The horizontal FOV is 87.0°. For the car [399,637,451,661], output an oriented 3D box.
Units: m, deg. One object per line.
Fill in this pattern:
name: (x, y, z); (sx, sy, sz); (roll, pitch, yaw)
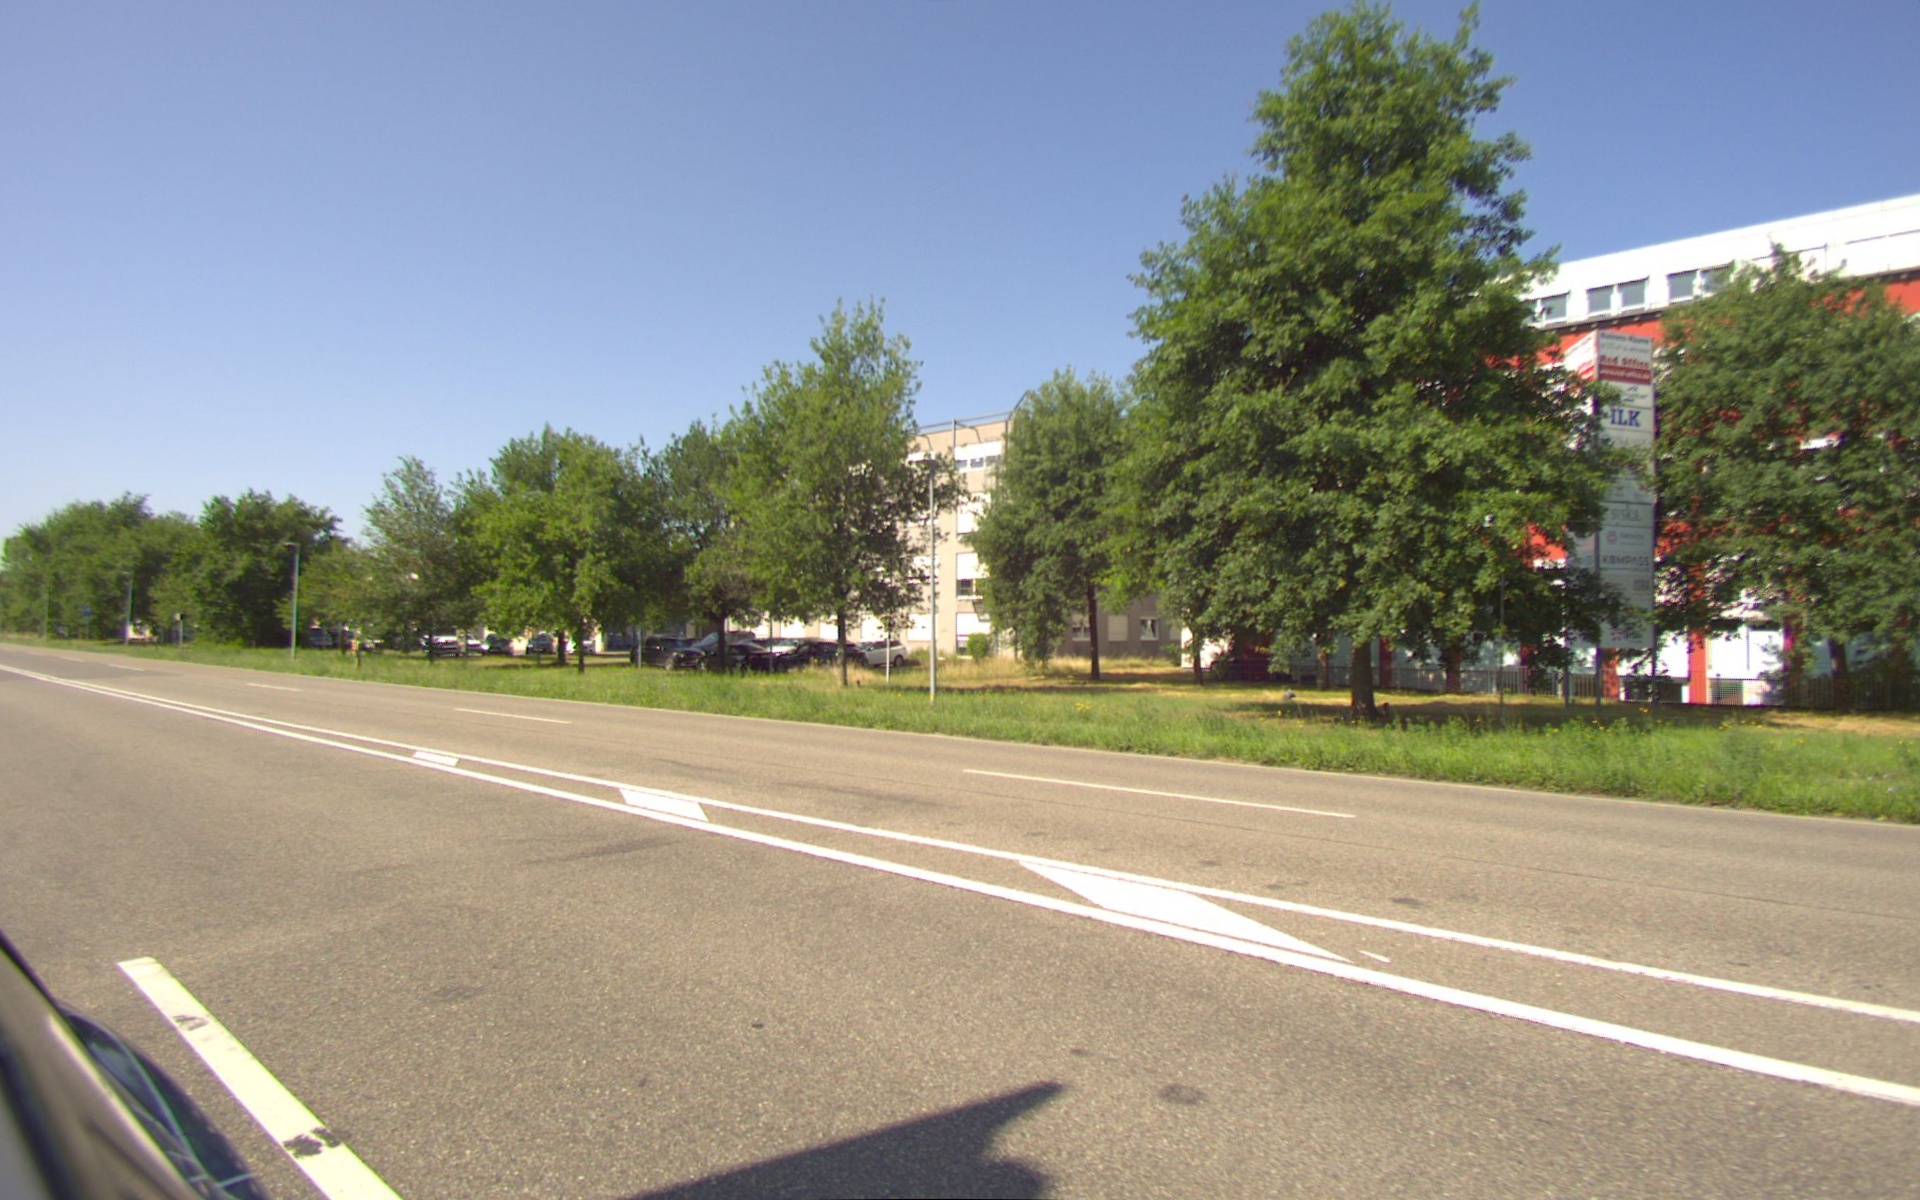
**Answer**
car: (-38.311, 3.467, 72.437); (4.188, 1.664, 1.909); (-1, -2, 40)

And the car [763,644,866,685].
car: (-6.147, 2.656, 42.493); (4.546, 1.590, 1.725); (-2, -3, 41)

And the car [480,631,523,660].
car: (-30.140, 2.974, 66.620); (2.038, 1.820, 5.031); (1, -2, -18)

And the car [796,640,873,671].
car: (-6.588, 2.896, 53.352); (1.741, 1.548, 3.946); (-2, -3, 40)

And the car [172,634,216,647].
car: (-91.211, 4.846, 120.536); (1.757, 1.512, 3.945); (-2, -3, 41)

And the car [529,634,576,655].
car: (-32.799, 3.564, 81.386); (4.167, 1.670, 1.837); (-2, -2, 41)

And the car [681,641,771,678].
car: (-10.851, 2.715, 46.727); (4.546, 1.590, 1.725); (-2, -3, 41)

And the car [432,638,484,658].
car: (-36.769, 3.500, 74.152); (4.188, 1.404, 1.909); (-1, -2, 40)

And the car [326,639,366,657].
car: (-50.205, 3.910, 82.665); (3.998, 1.360, 1.654); (-2, -3, 41)

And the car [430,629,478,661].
car: (-32.082, 2.827, 64.304); (2.038, 1.944, 5.031); (1, -2, -18)

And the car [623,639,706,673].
car: (-14.598, 2.719, 49.862); (4.546, 1.590, 1.725); (-2, -3, 41)

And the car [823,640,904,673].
car: (-4.878, 2.874, 51.776); (1.741, 1.598, 4.093); (-2, -3, 40)

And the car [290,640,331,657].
car: (-51.564, 3.831, 80.333); (3.998, 1.360, 1.654); (-2, -3, 41)

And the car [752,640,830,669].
car: (-9.119, 2.920, 54.832); (1.886, 1.548, 3.946); (-2, -3, 40)

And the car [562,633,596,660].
car: (-26.885, 3.242, 71.519); (2.038, 1.820, 5.031); (1, -2, -18)
